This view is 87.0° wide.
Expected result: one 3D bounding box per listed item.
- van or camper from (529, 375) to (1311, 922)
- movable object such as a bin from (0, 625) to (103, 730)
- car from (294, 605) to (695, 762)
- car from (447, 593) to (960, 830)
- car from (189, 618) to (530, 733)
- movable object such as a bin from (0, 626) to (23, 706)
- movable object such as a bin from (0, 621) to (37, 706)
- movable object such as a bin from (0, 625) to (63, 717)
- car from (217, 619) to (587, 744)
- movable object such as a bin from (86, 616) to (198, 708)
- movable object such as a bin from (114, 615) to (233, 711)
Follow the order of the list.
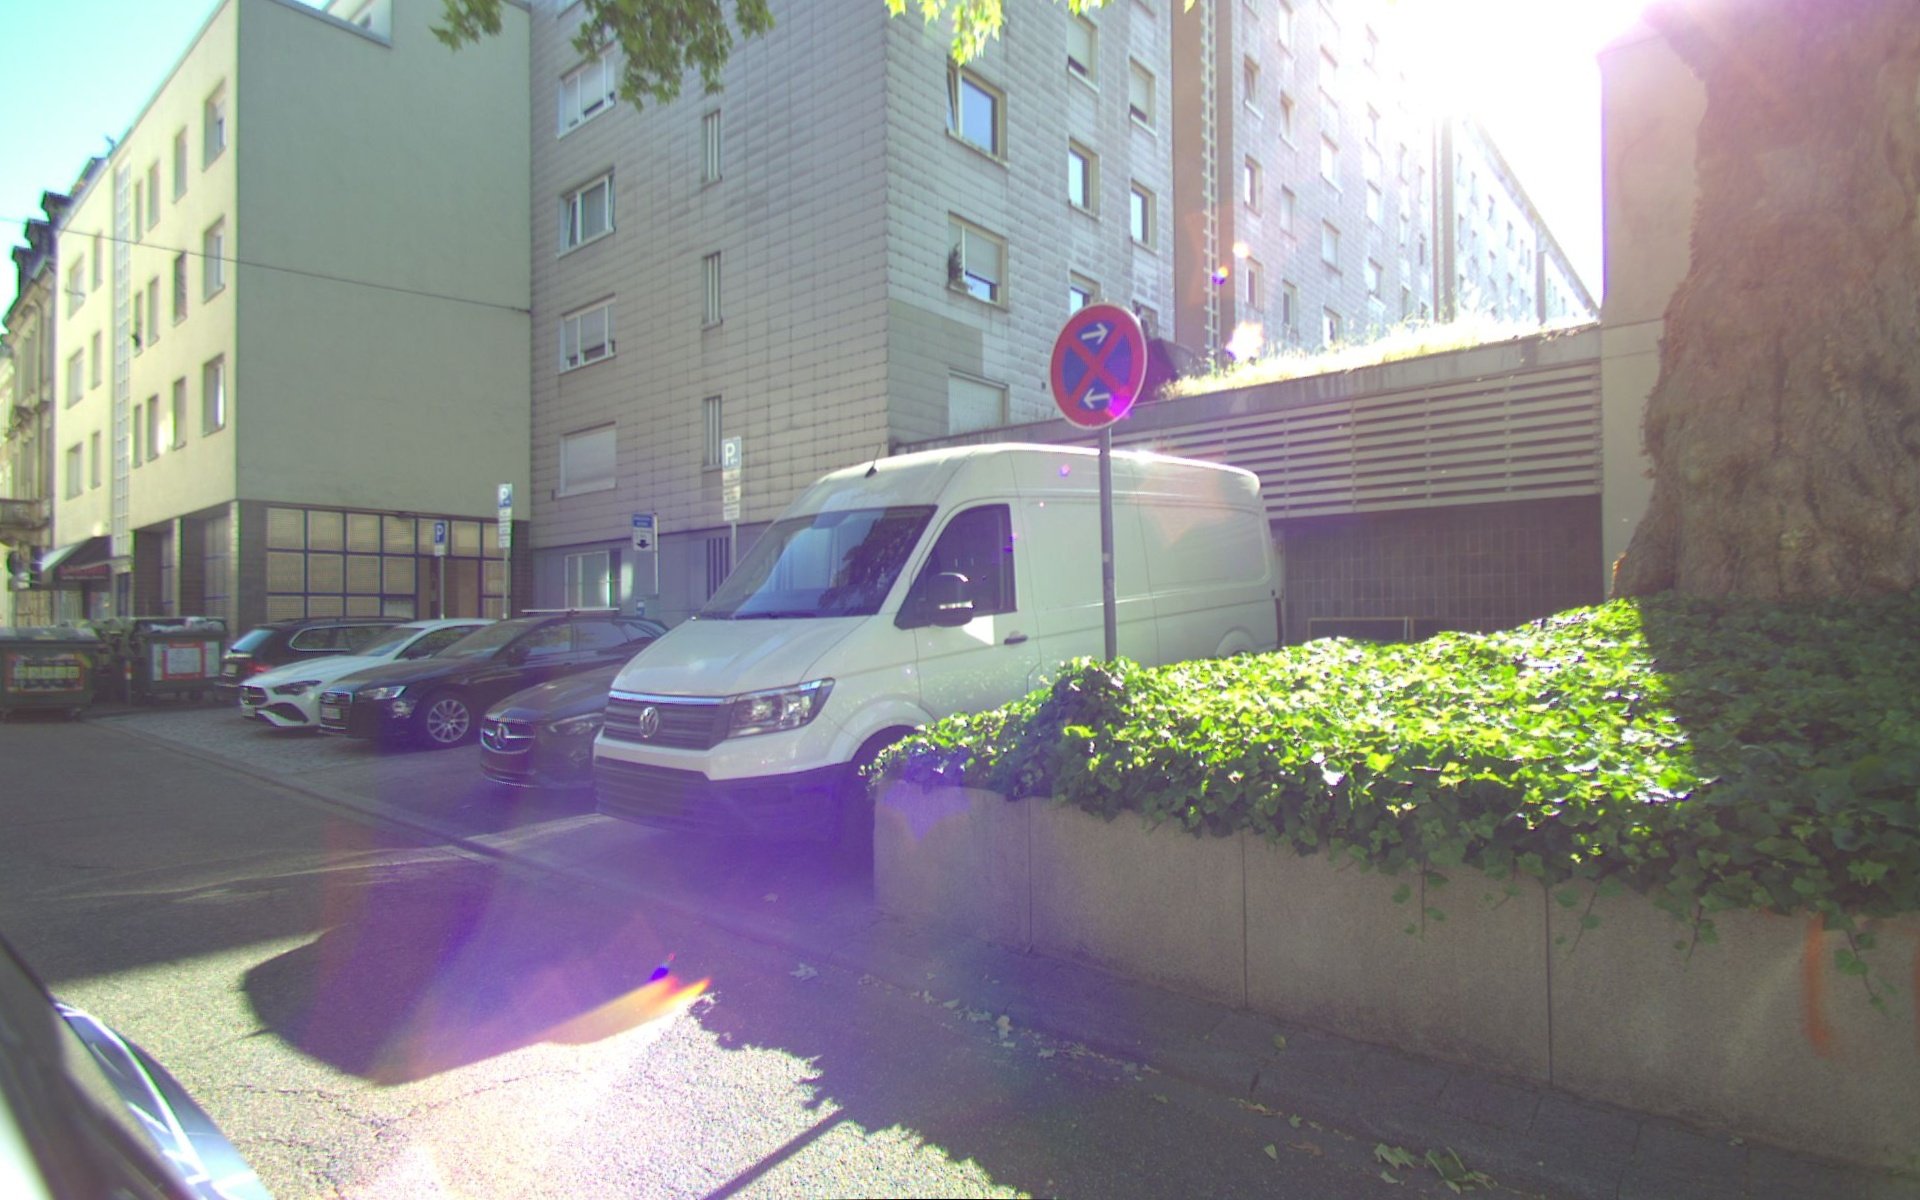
[{"bbox_3d":[0.430,0.109,8.052,1.999,2.593,6.835,-3,1,41],"label":"van or camper"},{"bbox_3d":[-14.533,1.175,15.937,1.874,1.512,1.226,-2,-1,38],"label":"movable object such as a bin"},{"bbox_3d":[-5.607,0.908,12.758,1.694,1.629,4.367,-2,-2,34],"label":"car"},{"bbox_3d":[-2.052,0.776,9.231,1.697,1.545,4.361,-2,0,39],"label":"car"},{"bbox_3d":[-9.287,1.076,16.028,1.694,1.545,4.367,-2,-2,34],"label":"car"},{"bbox_3d":[-19.006,1.276,19.478,1.558,1.512,1.207,-2,-2,38],"label":"movable object such as a bin"},{"bbox_3d":[-17.791,1.141,18.442,1.558,1.512,1.207,-2,-2,38],"label":"movable object such as a bin"},{"bbox_3d":[-16.372,1.188,17.305,1.923,1.512,1.231,-2,-2,38],"label":"movable object such as a bin"},{"bbox_3d":[-7.646,1.024,14.314,1.595,1.474,4.367,-2,-2,34],"label":"car"},{"bbox_3d":[-14.216,1.048,17.585,1.515,1.512,1.207,-2,-2,38],"label":"movable object such as a bin"},{"bbox_3d":[-13.057,1.018,16.818,1.193,1.512,1.312,-2,-2,38],"label":"movable object such as a bin"}]
